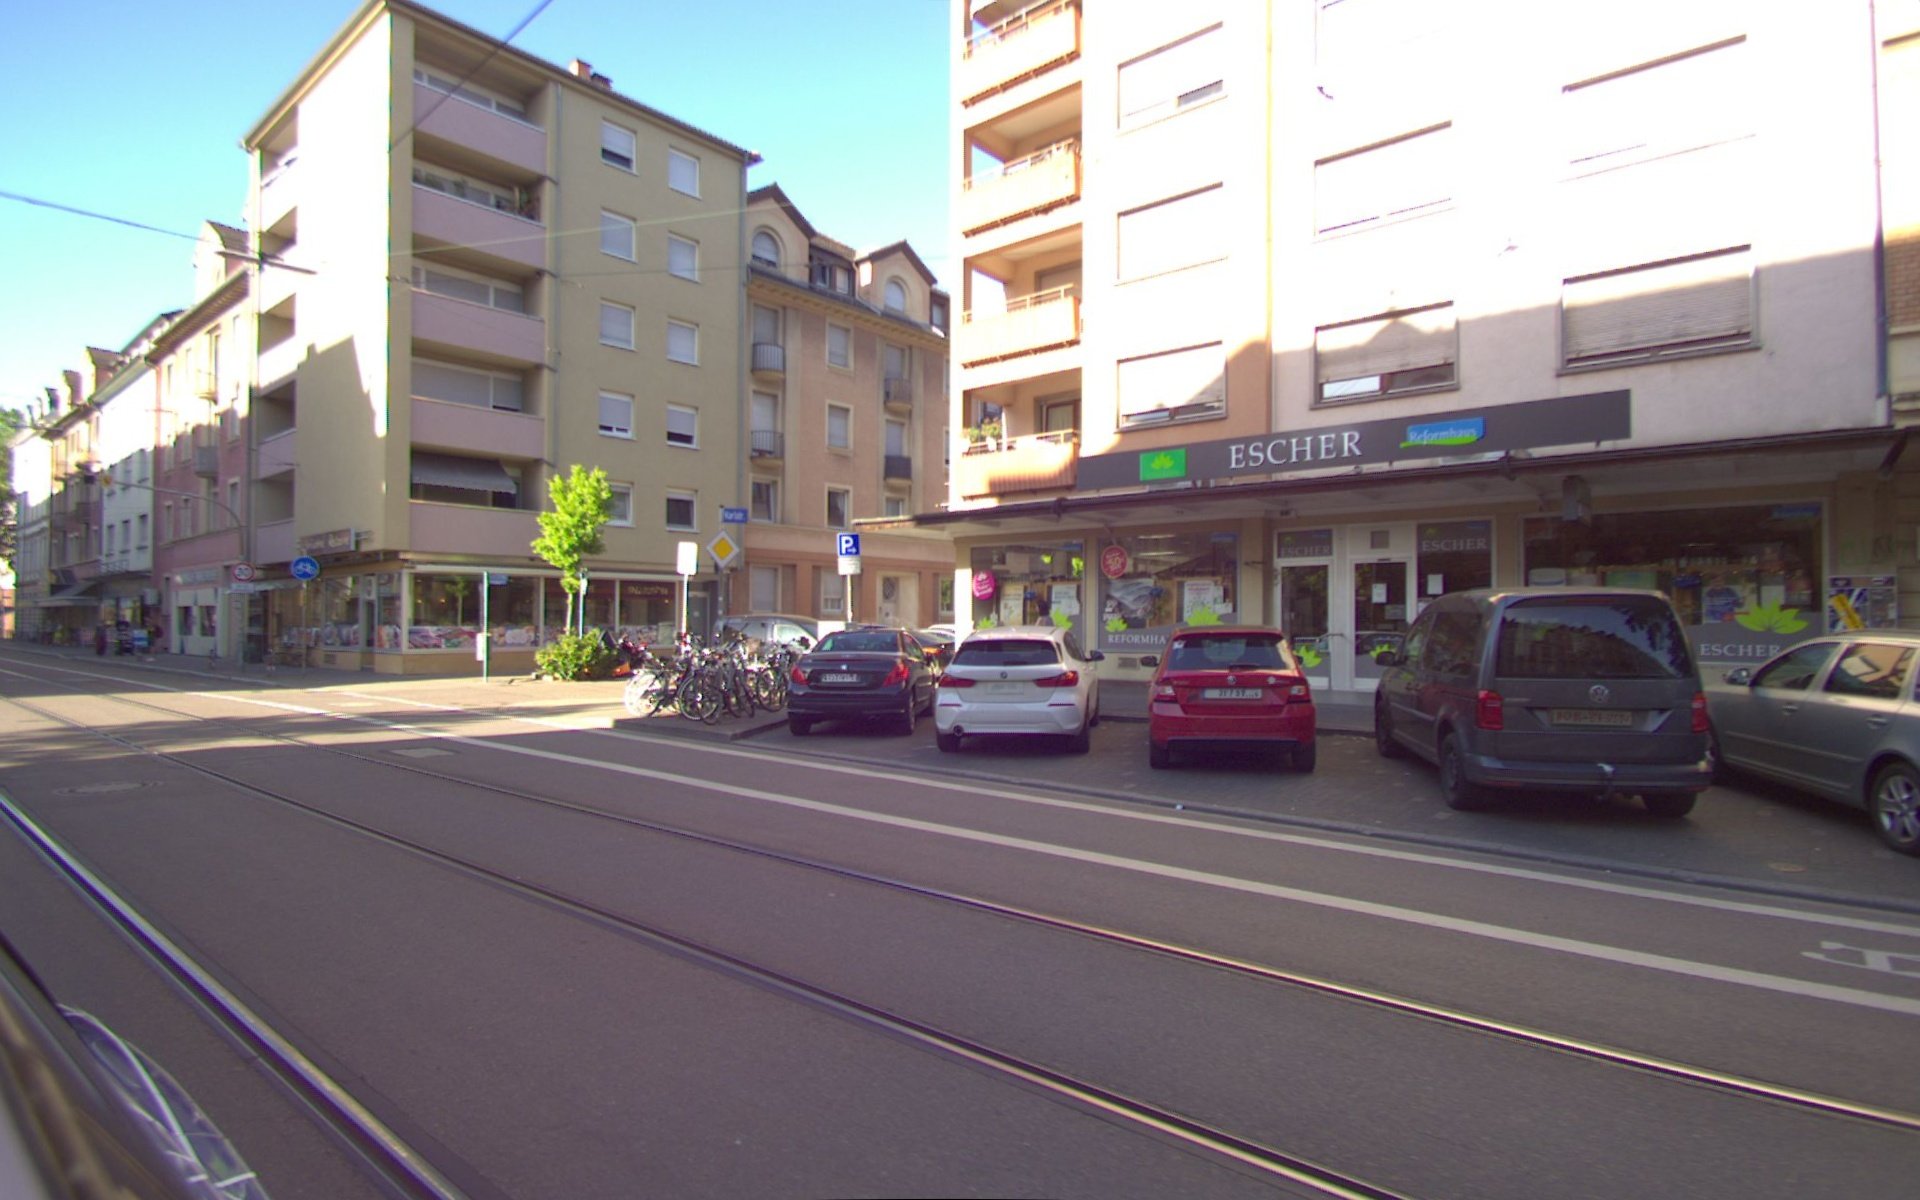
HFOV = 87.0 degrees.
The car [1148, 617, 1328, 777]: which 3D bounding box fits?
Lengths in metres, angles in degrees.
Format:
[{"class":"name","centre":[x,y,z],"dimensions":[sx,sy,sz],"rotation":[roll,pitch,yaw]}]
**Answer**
[{"class":"car","centre":[2.968,0.963,11.303],"dimensions":[1.631,1.484,3.458],"rotation":[-1,-2,12]}]

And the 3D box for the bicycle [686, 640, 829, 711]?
[{"class":"bicycle","centre":[-3.559,1.314,17.887],"dimensions":[2.396,1.118,0.685],"rotation":[-2,-2,-9]}]

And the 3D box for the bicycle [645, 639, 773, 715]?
[{"class":"bicycle","centre":[-4.042,1.237,16.337],"dimensions":[1.867,1.132,0.681],"rotation":[-3,-2,10]}]

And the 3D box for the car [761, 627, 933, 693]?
[{"class":"car","centre":[-2.826,1.502,25.787],"dimensions":[3.957,1.403,1.843],"rotation":[-4,-2,11]}]

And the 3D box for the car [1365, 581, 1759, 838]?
[{"class":"car","centre":[5.036,0.748,9.133],"dimensions":[1.777,1.798,3.811],"rotation":[0,1,10]}]

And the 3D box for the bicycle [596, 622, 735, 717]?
[{"class":"bicycle","centre":[-4.491,1.054,15.309],"dimensions":[2.431,1.330,0.675],"rotation":[-4,-3,37]}]

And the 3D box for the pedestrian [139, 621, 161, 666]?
[{"class":"pedestrian","centre":[-30.839,1.657,38.525],"dimensions":[0.616,1.698,0.557],"rotation":[-1,-1,39]}]

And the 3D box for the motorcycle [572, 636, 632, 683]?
[{"class":"motorcycle","centre":[-10.092,1.651,28.506],"dimensions":[2.175,1.219,0.613],"rotation":[-1,-1,41]}]

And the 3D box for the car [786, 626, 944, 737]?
[{"class":"car","centre":[-1.242,1.079,14.557],"dimensions":[1.605,1.348,3.464],"rotation":[0,-1,7]}]

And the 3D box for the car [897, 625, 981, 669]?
[{"class":"car","centre":[-0.752,1.756,38.758],"dimensions":[1.785,1.522,3.839],"rotation":[-1,-1,24]}]

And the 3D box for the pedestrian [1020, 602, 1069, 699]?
[{"class":"pedestrian","centre":[1.480,0.872,17.794],"dimensions":[0.641,1.665,0.563],"rotation":[-1,-1,41]}]

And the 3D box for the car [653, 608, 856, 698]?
[{"class":"car","centre":[-4.788,1.277,23.596],"dimensions":[4.324,1.831,1.837],"rotation":[-4,-5,20]}]

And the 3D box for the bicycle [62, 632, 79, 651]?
[{"class":"bicycle","centre":[-51.782,2.430,58.888],"dimensions":[2.328,1.068,0.420],"rotation":[-1,-1,41]}]

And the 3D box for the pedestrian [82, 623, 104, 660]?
[{"class":"pedestrian","centre":[-37.533,1.793,43.810],"dimensions":[0.623,1.560,0.629],"rotation":[-1,-1,40]}]

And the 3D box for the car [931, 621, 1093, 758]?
[{"class":"car","centre":[0.793,0.998,12.787],"dimensions":[1.734,1.411,3.782],"rotation":[0,-1,8]}]

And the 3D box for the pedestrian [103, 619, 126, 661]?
[{"class":"pedestrian","centre":[-37.150,1.746,44.466],"dimensions":[0.820,1.803,0.619],"rotation":[-1,-1,41]}]

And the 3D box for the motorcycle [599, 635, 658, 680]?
[{"class":"motorcycle","centre":[-9.539,1.629,29.064],"dimensions":[2.175,1.219,0.613],"rotation":[-1,-1,41]}]

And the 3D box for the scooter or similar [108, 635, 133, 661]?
[{"class":"scooter or similar","centre":[-36.329,2.065,43.792],"dimensions":[1.104,1.069,0.655],"rotation":[-2,-2,41]}]

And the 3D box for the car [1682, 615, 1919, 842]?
[{"class":"car","centre":[7.145,0.843,7.106],"dimensions":[1.680,1.460,4.009],"rotation":[0,-1,8]}]

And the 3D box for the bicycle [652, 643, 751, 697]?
[{"class":"bicycle","centre":[-5.743,1.548,22.365],"dimensions":[2.429,1.118,0.676],"rotation":[-4,-3,35]}]
